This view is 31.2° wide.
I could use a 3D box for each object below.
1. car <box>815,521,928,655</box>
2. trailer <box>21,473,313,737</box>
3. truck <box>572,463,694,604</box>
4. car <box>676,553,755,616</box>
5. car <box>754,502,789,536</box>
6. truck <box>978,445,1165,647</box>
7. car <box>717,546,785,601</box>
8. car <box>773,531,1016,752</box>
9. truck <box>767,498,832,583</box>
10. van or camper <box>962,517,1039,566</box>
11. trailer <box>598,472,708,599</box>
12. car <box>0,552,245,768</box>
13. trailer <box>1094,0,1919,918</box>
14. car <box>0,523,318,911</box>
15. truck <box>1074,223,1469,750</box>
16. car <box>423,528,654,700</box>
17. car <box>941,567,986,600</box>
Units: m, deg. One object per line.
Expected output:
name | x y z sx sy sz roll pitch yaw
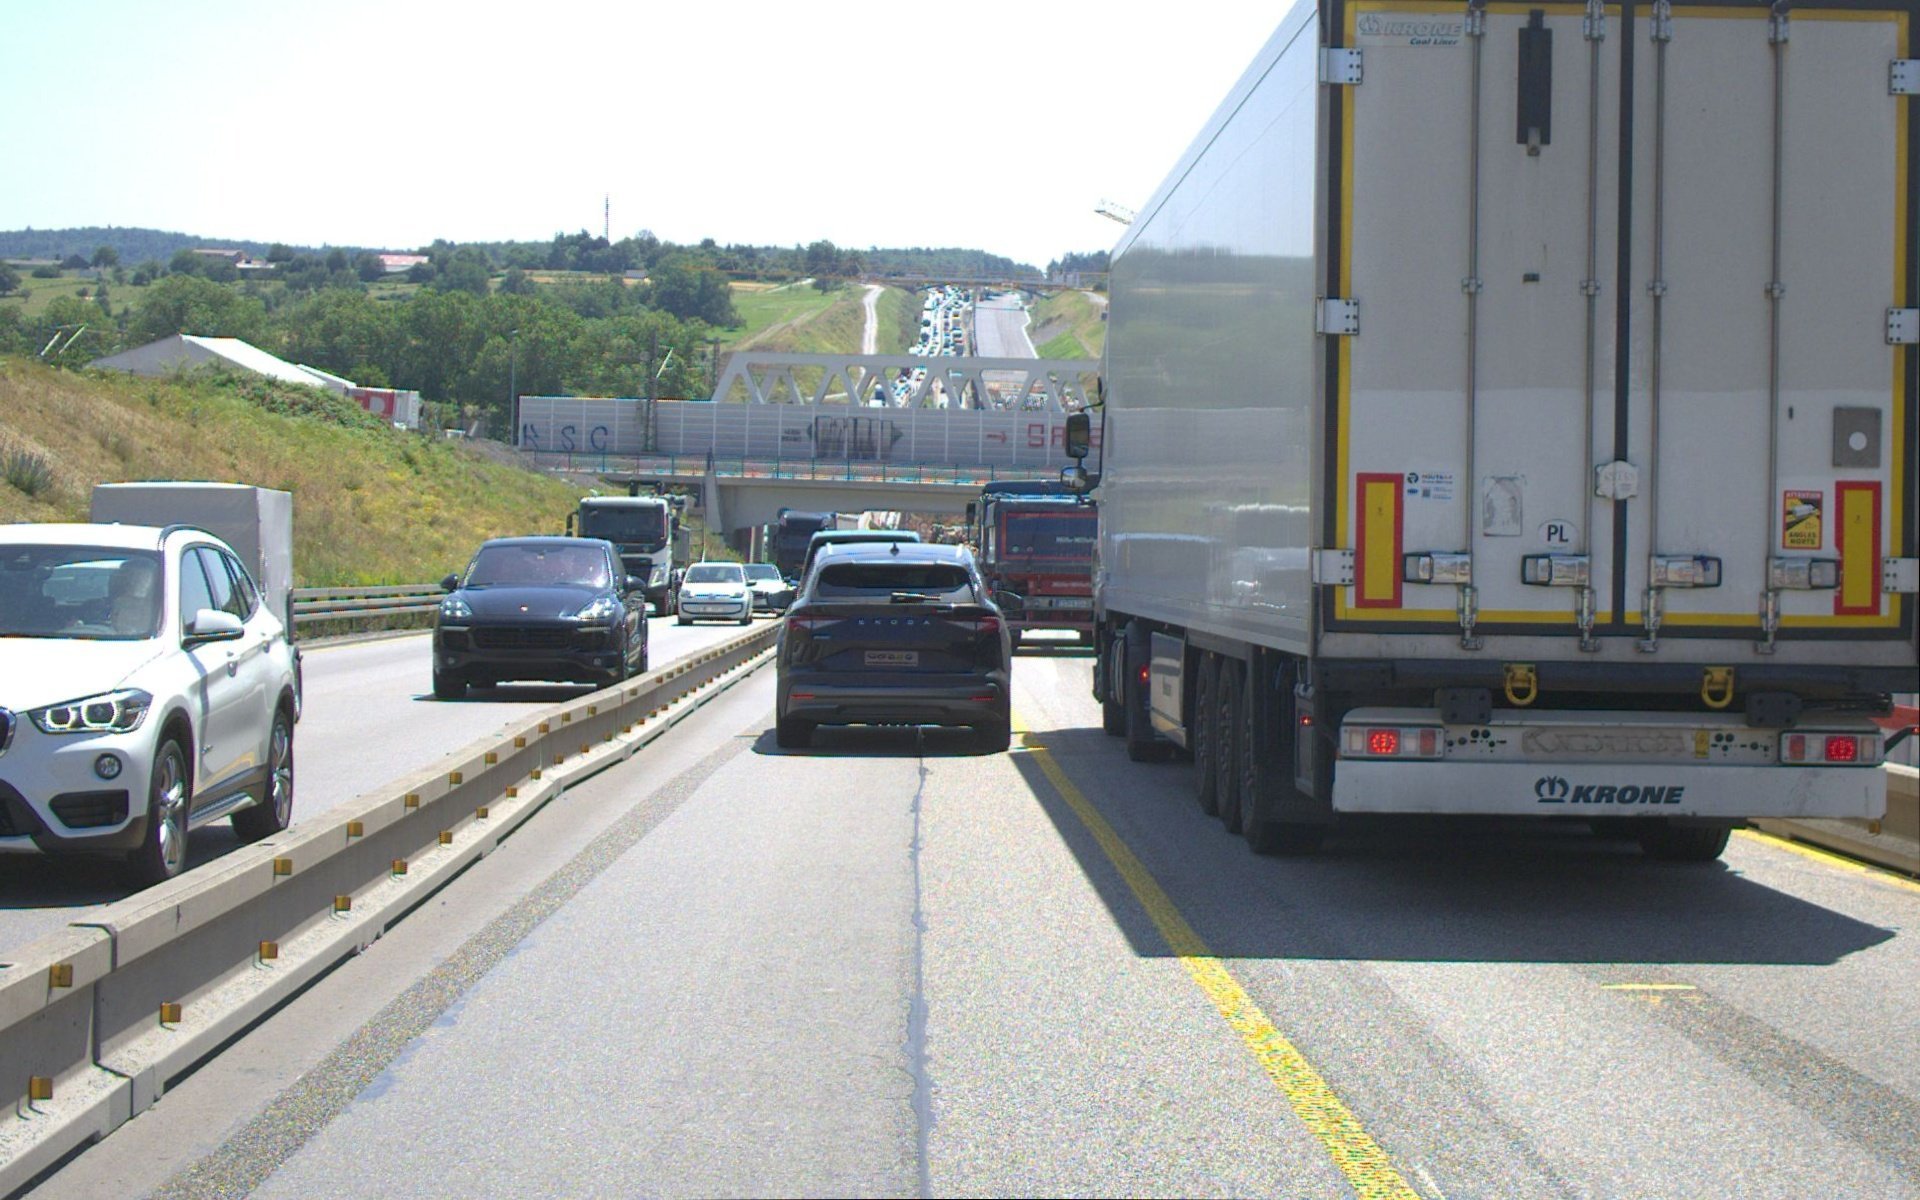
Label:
car | -1.196 -0.184 47.618 1.475 1.789 3.298 0 1 0
trailer | -6.473 0.008 28.458 1.646 2.019 4.271 0 1 -3
truck | -8.971 -1.815 95.074 2.587 3.710 9.333 0 1 -1
car | -5.650 -0.377 79.632 1.684 1.425 3.293 0 1 -2
car | -10.130 -4.347 185.286 1.732 1.787 3.581 1 1 -1
truck | 1.772 -0.925 60.199 2.814 3.124 12.838 1 1 0
car | -5.522 -0.713 91.207 1.684 1.425 4.123 0 1 -2
car | -0.509 0.279 27.366 1.800 1.615 3.298 1 1 -1
truck | -7.411 -2.743 159.449 2.767 3.871 4.964 1 1 -1
van or camper | 2.895 -4.249 249.055 3.942 3.408 8.409 1 1 -11
trailer | -9.103 -1.904 102.792 2.587 3.624 9.079 0 1 -1
car | -6.276 0.372 24.697 1.646 1.411 4.001 0 1 -3
trailer | 2.642 -0.791 21.244 2.801 4.044 14.117 1 1 -1
car | -4.309 0.434 16.274 1.815 1.587 4.290 1 1 -1
truck | 2.490 -0.902 29.060 2.776 4.044 4.905 1 1 -1
car | -4.383 0.103 36.349 1.891 1.702 4.561 0 1 0
car | 0.138 -0.635 131.115 1.538 1.202 3.311 0 1 -3
